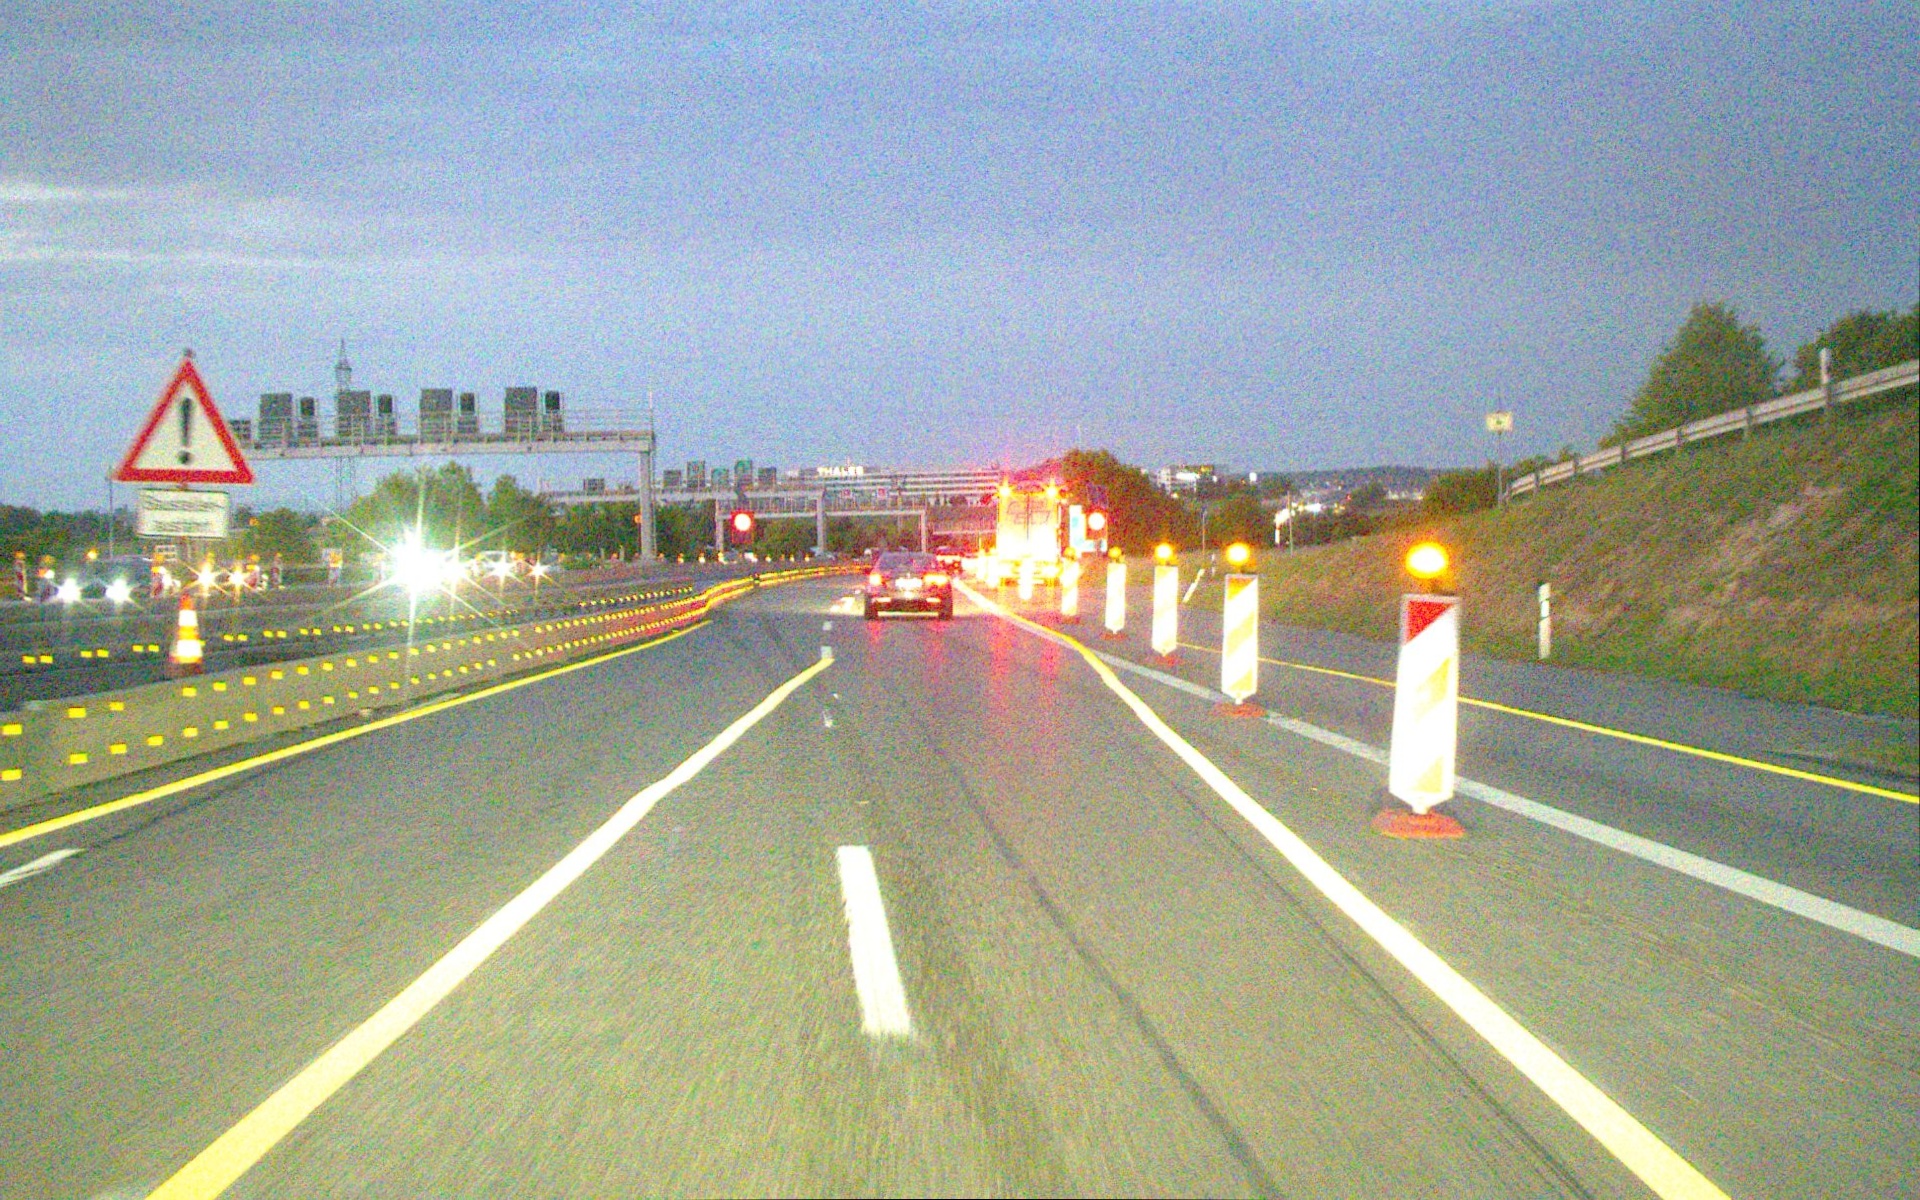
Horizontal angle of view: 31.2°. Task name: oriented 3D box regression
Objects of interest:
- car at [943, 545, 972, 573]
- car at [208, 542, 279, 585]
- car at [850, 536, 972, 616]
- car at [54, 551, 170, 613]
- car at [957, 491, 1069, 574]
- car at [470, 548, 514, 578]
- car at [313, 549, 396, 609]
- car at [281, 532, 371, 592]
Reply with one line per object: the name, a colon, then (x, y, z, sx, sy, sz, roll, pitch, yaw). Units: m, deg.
car: (-0.209, -2.979, 251.659, 1.993, 2.007, 4.000, 1, 1, -1)
car: (-26.652, -1.369, 127.971, 1.763, 1.543, 4.425, 1, 1, -1)
car: (-1.082, -0.526, 73.292, 2.265, 1.616, 4.001, 1, 1, -5)
car: (-21.079, -0.474, 85.634, 1.763, 1.459, 4.690, 1, 1, -1)
car: (2.199, -2.866, 146.643, 3.604, 3.384, 8.016, 1, 1, -7)
car: (-22.685, -1.793, 166.797, 1.575, 1.425, 4.425, 1, 1, -1)
car: (-19.336, -0.681, 109.917, 1.993, 1.821, 4.000, 1, 1, -1)
car: (-18.997, -1.142, 103.168, 1.993, 1.708, 4.000, 1, 1, -1)
